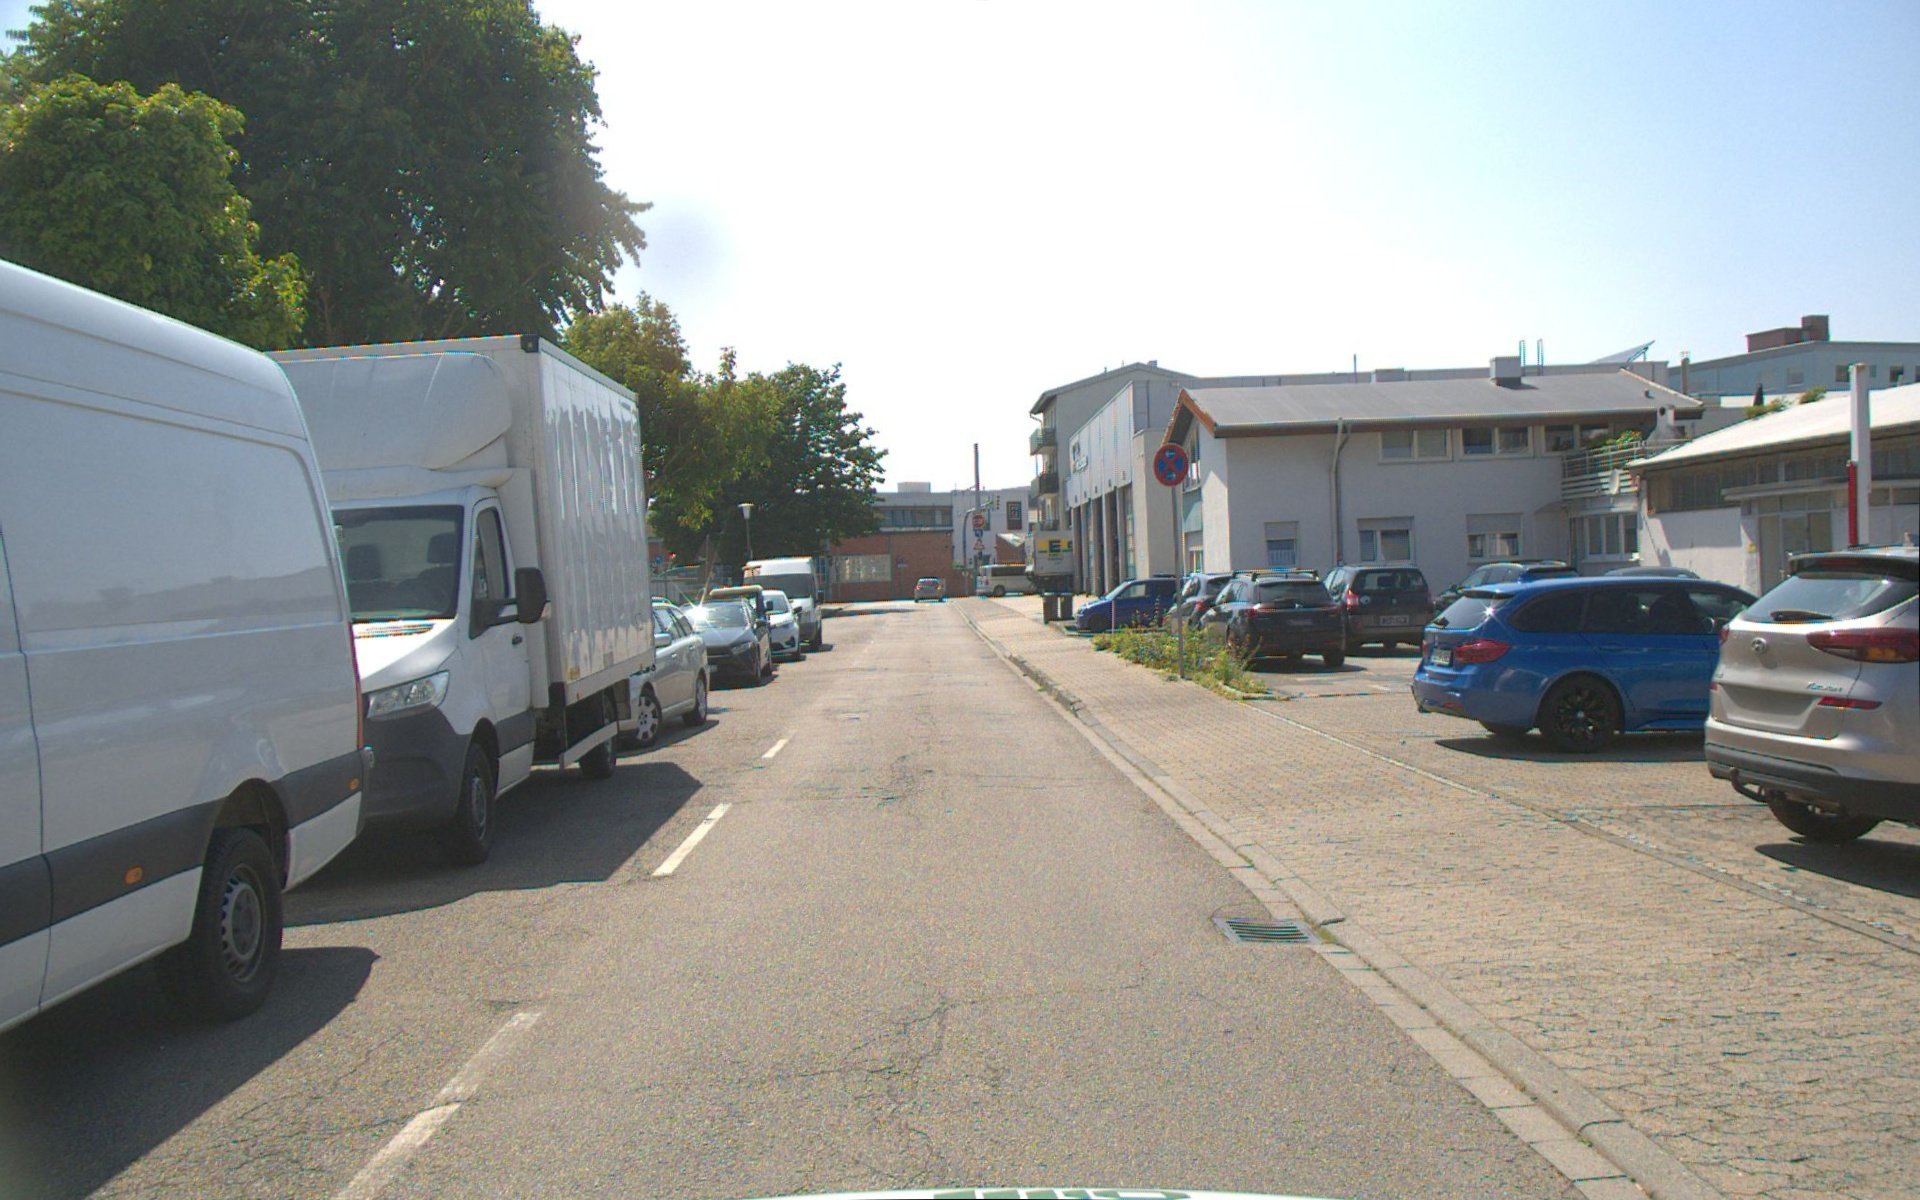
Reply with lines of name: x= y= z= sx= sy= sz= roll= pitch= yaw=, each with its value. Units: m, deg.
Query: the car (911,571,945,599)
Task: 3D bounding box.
car: x=-2.065 y=-0.965 z=105.170 sx=1.853 sy=1.714 sz=3.954 roll=1 pitch=1 yaw=-5

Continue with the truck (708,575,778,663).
truck: x=-4.467 y=0.349 z=34.332 sx=1.116 sy=1.650 sz=3.139 roll=-4 pitch=1 yaw=-4

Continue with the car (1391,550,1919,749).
car: x=6.187 y=0.381 z=14.523 sx=4.265 sy=1.466 sz=1.891 roll=-2 pitch=1 yaw=-2

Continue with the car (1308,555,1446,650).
car: x=7.658 y=-0.008 z=30.706 sx=1.723 sy=1.622 sz=3.620 roll=1 pitch=1 yaw=2

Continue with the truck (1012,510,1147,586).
truck: x=6.922 y=-3.018 z=96.354 sx=7.222 sy=3.707 sz=2.763 roll=-5 pitch=2 yaw=-8

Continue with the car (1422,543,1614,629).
car: x=11.060 y=-0.278 z=33.101 sx=1.729 sy=1.521 sz=4.137 roll=-4 pitch=1 yaw=-12

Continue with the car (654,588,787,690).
car: x=-4.035 y=0.611 z=28.448 sx=1.670 sy=1.488 sz=4.113 roll=-3 pitch=1 yaw=-1

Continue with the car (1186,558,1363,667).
car: x=5.151 y=0.138 z=27.783 sx=1.821 sy=1.595 sz=4.950 roll=-2 pitch=1 yaw=-2

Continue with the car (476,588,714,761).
car: x=-3.842 y=0.703 z=18.127 sx=1.706 sy=1.547 sz=4.309 roll=-2 pitch=1 yaw=-2

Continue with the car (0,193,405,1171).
car: x=-3.656 y=0.249 z=4.246 sx=2.125 sy=2.641 sz=6.918 roll=-3 pitch=0 yaw=-1

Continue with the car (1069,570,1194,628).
car: x=4.639 y=-0.033 z=45.061 sx=3.187 sy=1.423 sz=1.673 roll=-2 pitch=1 yaw=-1

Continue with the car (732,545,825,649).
car: x=-4.652 y=-0.051 z=43.107 sx=1.966 sy=2.407 sz=5.226 roll=-4 pitch=0 yaw=-3

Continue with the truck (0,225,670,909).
truck: x=-4.012 y=-0.191 z=12.113 sx=2.631 sy=3.425 sz=7.127 roll=-3 pitch=0 yaw=-2

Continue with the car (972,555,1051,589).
car: x=3.258 y=-1.760 z=104.590 sx=4.587 sy=1.991 sz=1.905 roll=-3 pitch=1 yaw=-21

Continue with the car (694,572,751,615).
car: x=-9.321 y=-0.271 z=65.117 sx=1.778 sy=1.556 sz=3.673 roll=-3 pitch=1 yaw=-3

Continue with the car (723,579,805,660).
car: x=-4.467 y=0.403 z=37.943 sx=1.672 sy=1.652 sz=3.969 roll=-3 pitch=1 yaw=-6

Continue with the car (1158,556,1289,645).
car: x=5.210 y=-0.032 z=33.241 sx=1.775 sy=1.585 sz=4.291 roll=-2 pitch=1 yaw=-2

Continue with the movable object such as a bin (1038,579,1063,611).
movable object such as a bin: x=2.870 y=-0.156 z=52.661 sx=0.557 sy=0.962 sz=0.556 roll=-2 pitch=1 yaw=32

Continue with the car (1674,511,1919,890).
car: x=6.107 y=0.529 z=8.463 sx=4.117 sy=1.711 sz=1.766 roll=2 pitch=0 yaw=-2

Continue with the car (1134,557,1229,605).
car: x=8.197 y=-0.700 z=60.952 sx=1.746 sy=1.566 sz=3.684 roll=-2 pitch=2 yaw=40

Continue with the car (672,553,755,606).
car: x=-12.751 y=-1.083 z=85.592 sx=4.004 sy=2.556 sz=1.776 roll=-2 pitch=1 yaw=-3

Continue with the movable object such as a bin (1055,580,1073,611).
movable object such as a bin: x=3.344 y=-0.154 z=53.085 sx=0.502 sy=0.962 sz=0.488 roll=-2 pitch=1 yaw=10

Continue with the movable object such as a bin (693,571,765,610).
movable object such as a bin: x=-10.262 y=-0.445 z=73.689 sx=2.571 sy=1.536 sz=2.730 roll=-3 pitch=1 yaw=4

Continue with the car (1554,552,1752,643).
car: x=11.405 y=-0.080 z=27.506 sx=1.608 sy=1.347 sz=4.101 roll=-2 pitch=1 yaw=1

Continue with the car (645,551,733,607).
car: x=-13.203 y=-1.042 z=80.754 sx=4.004 sy=2.556 sz=1.776 roll=-2 pitch=1 yaw=-3
